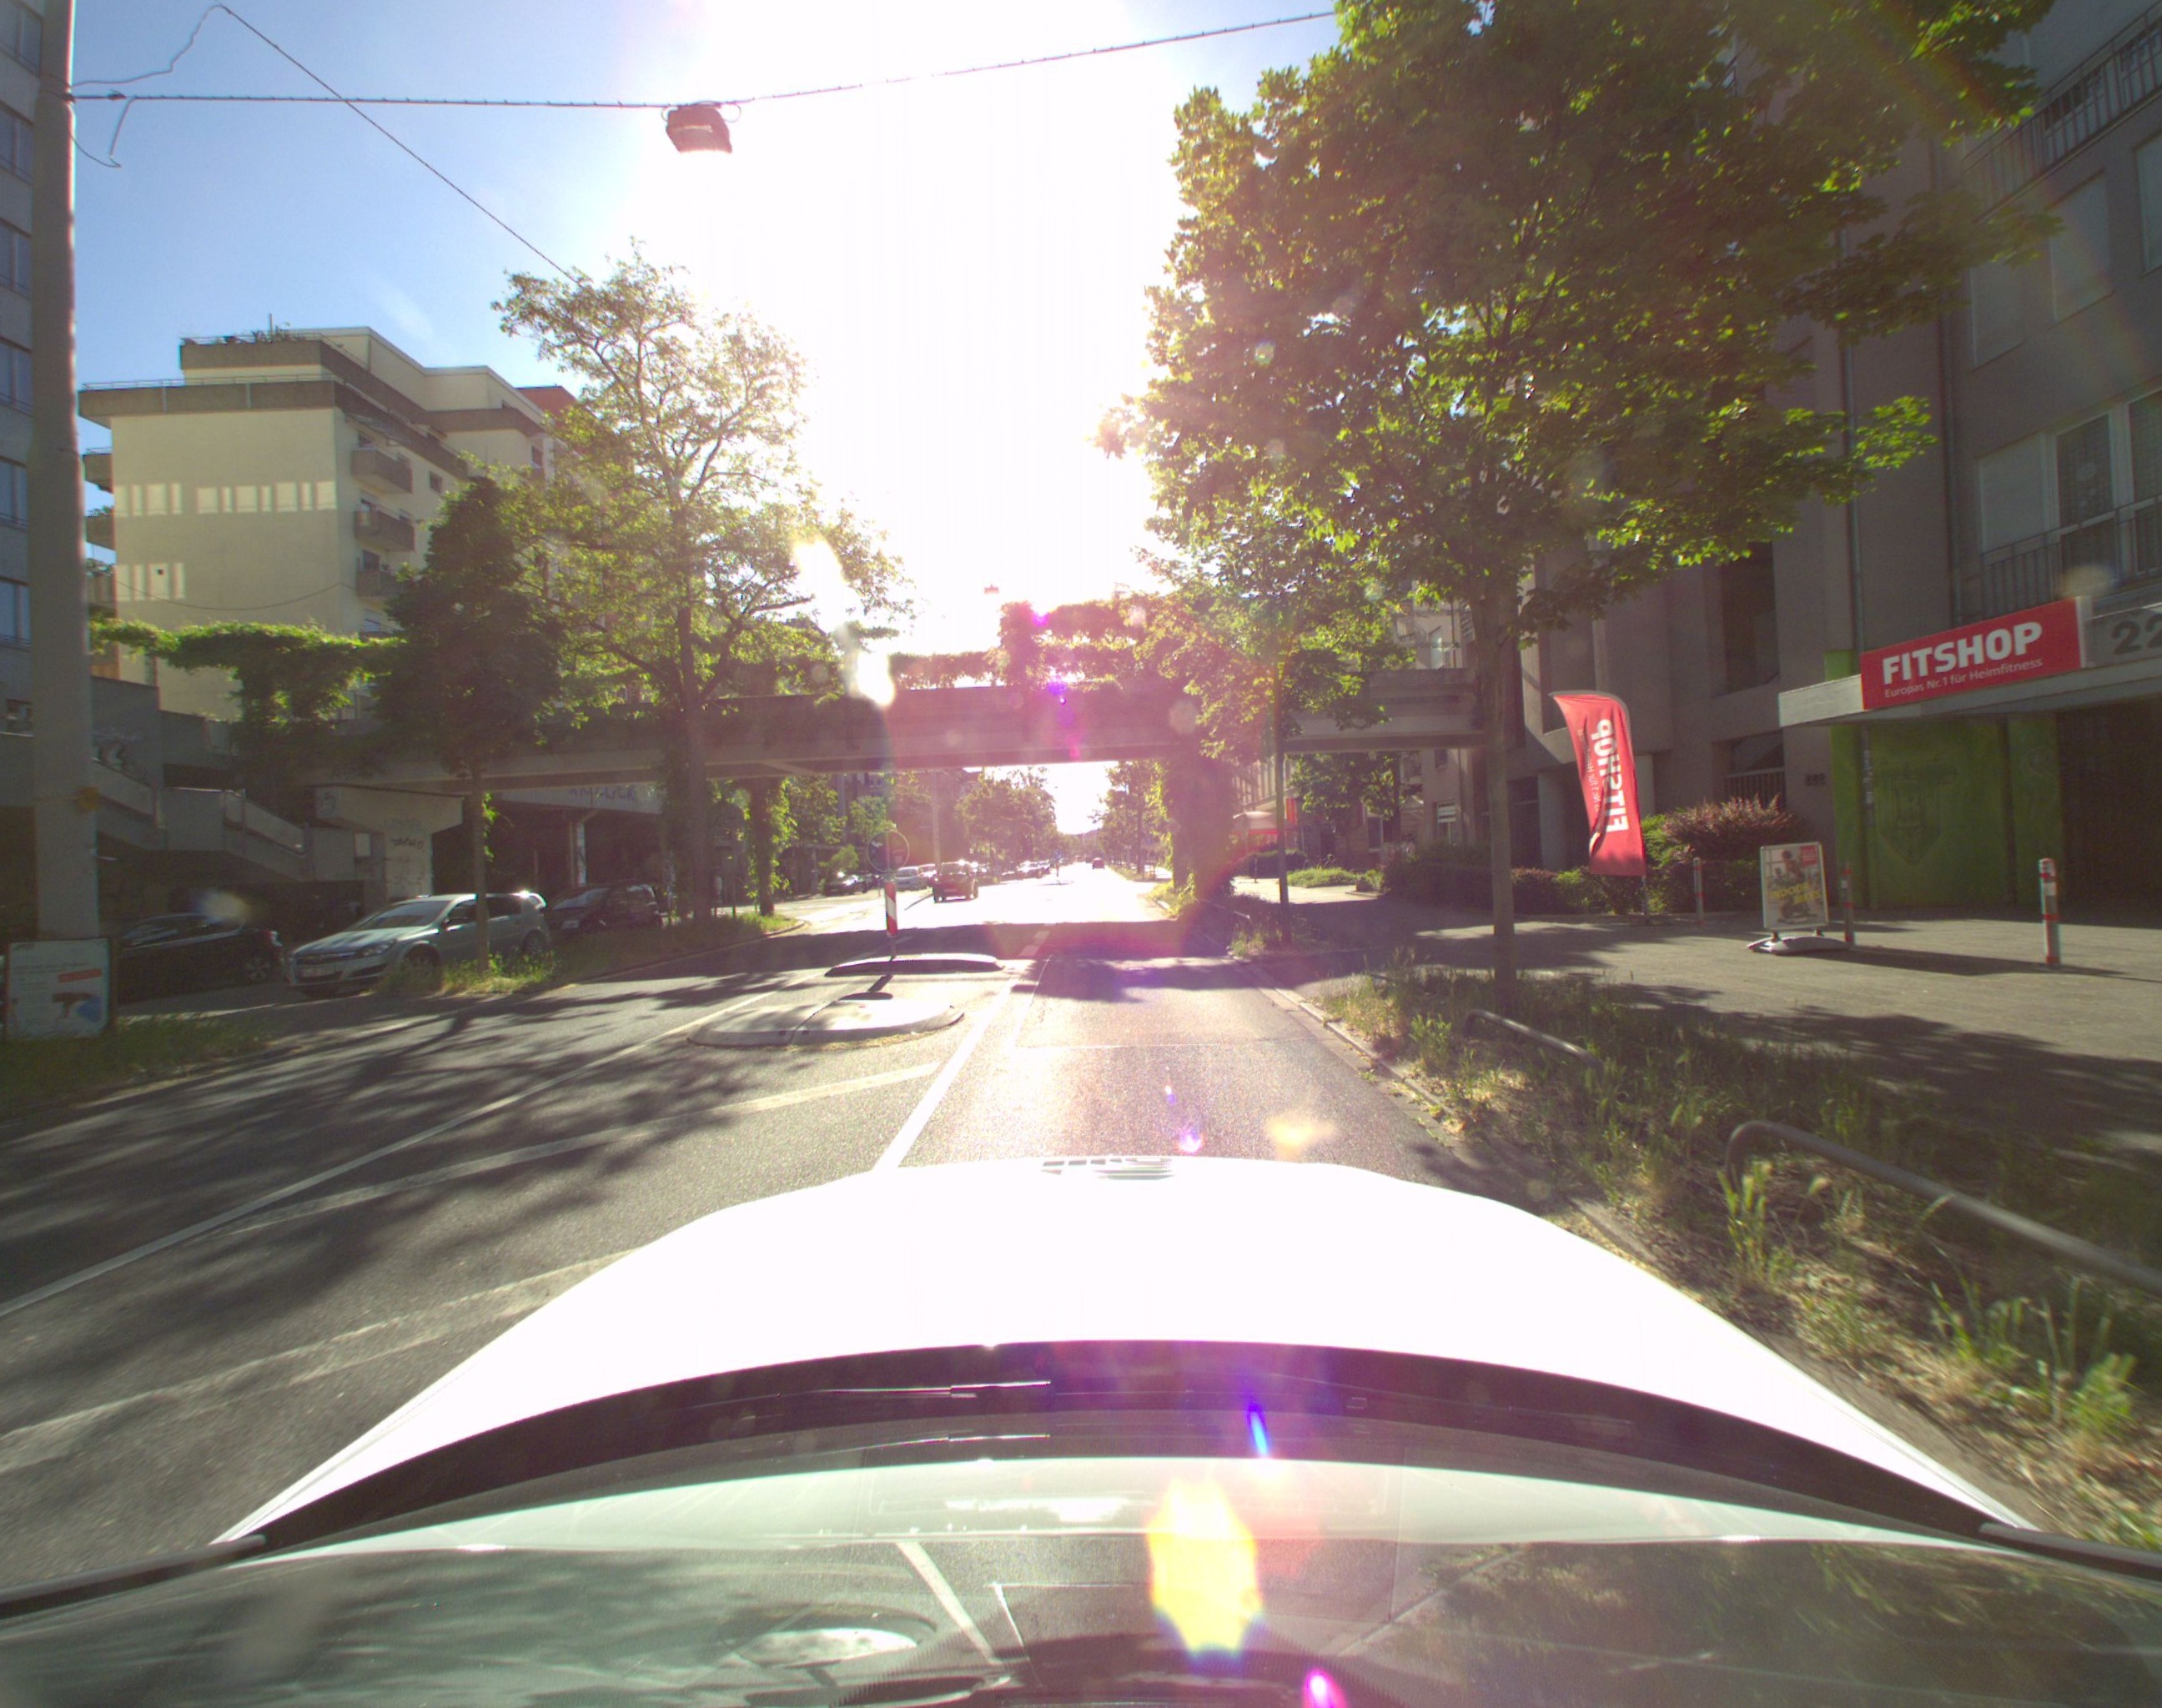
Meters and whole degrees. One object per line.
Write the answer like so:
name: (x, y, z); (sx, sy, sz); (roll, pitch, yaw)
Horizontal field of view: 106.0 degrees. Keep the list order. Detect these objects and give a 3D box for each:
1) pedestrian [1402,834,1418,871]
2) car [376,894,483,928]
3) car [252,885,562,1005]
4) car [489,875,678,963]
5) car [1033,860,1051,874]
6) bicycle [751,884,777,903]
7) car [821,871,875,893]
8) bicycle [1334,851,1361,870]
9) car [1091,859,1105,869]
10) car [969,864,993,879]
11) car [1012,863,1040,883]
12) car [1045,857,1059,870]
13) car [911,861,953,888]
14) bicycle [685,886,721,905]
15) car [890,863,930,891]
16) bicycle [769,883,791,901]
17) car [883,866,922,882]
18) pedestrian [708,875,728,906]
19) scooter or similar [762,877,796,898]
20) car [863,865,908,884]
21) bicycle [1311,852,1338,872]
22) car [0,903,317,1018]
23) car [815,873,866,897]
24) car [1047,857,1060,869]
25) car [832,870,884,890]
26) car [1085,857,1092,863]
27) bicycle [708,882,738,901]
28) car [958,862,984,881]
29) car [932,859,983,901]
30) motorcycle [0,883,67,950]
pedestrian: (14.546, -0.073, 35.981); (0.525, 1.576, 0.638); (-3, -1, 25)
car: (-33.752, 2.938, 42.255); (4.037, 1.410, 1.767); (-3, 0, 0)
car: (-11.230, 1.413, 14.066); (1.647, 1.448, 4.281); (-6, 0, 0)
car: (-10.972, 1.363, 18.323); (1.734, 1.538, 3.780); (-5, 0, 1)
car: (-4.267, 1.415, 88.934); (1.646, 1.428, 3.507); (-3, 0, 1)
bicycle: (-18.977, 2.338, 48.779); (0.411, 1.031, 1.810); (0, 0, 17)
car: (-19.455, 2.341, 68.179); (3.978, 1.607, 1.840); (-3, 0, -3)
bicycle: (14.660, 0.368, 44.800); (1.309, 0.974, 0.392); (-3, -1, -10)
car: (2.282, 1.342, 109.767); (1.791, 1.223, 4.002); (-3, 0, 2)
car: (-9.807, 1.705, 80.289); (1.748, 1.398, 4.000); (-3, 0, 1)
car: (-4.555, 1.556, 68.016); (1.859, 1.458, 4.595); (-4, 0, 2)
car: (-4.907, 1.595, 137.661); (1.985, 2.013, 4.209); (-3, 0, 3)
car: (-10.145, 1.399, 55.792); (1.861, 1.627, 4.506); (-4, 0, 2)
bicycle: (-22.130, 2.403, 47.640); (1.795, 1.001, 0.483); (-3, 1, -8)
car: (-10.561, 1.395, 50.396); (1.715, 1.518, 3.529); (-4, 0, -2)
bicycle: (-18.874, 2.376, 51.151); (0.411, 1.001, 1.807); (0, 0, 11)
car: (-20.411, 2.294, 93.190); (3.978, 1.629, 1.686); (-3, 0, -3)
pedestrian: (-20.516, 2.050, 46.032); (0.753, 1.699, 0.796); (0, -1, 0)
scooter or similar: (-20.052, 2.234, 54.157); (1.963, 1.277, 0.630); (-3, 0, -4)
car: (-19.440, 2.026, 81.146); (3.978, 1.629, 1.686); (-3, 0, -3)
bicycle: (13.100, 0.432, 43.886); (1.309, 0.974, 0.392); (-3, -1, -10)
car: (-16.841, 1.829, 14.940); (1.726, 1.530, 4.001); (-3, 0, 1)
car: (-16.372, 2.093, 55.680); (1.883, 1.398, 4.533); (-4, 0, 3)
car: (-5.239, 1.734, 157.280); (2.053, 2.013, 4.632); (-3, 0, 3)
car: (-19.359, 2.240, 70.751); (3.978, 1.424, 1.686); (-3, 0, -3)
car: (2.316, 1.858, 244.635); (1.751, 1.783, 4.002); (-3, 0, 2)
bicycle: (-21.294, 2.223, 48.427); (1.619, 1.001, 0.412); (-1, 0, -22)
car: (-10.162, 1.585, 75.334); (1.745, 1.553, 4.000); (-4, 0, 1)
car: (-5.026, 1.035, 33.405); (1.461, 1.527, 2.818); (-3, 0, 2)
motorcycle: (-21.374, 1.244, 15.826); (0.727, 1.270, 2.053); (-3, 0, 0)
